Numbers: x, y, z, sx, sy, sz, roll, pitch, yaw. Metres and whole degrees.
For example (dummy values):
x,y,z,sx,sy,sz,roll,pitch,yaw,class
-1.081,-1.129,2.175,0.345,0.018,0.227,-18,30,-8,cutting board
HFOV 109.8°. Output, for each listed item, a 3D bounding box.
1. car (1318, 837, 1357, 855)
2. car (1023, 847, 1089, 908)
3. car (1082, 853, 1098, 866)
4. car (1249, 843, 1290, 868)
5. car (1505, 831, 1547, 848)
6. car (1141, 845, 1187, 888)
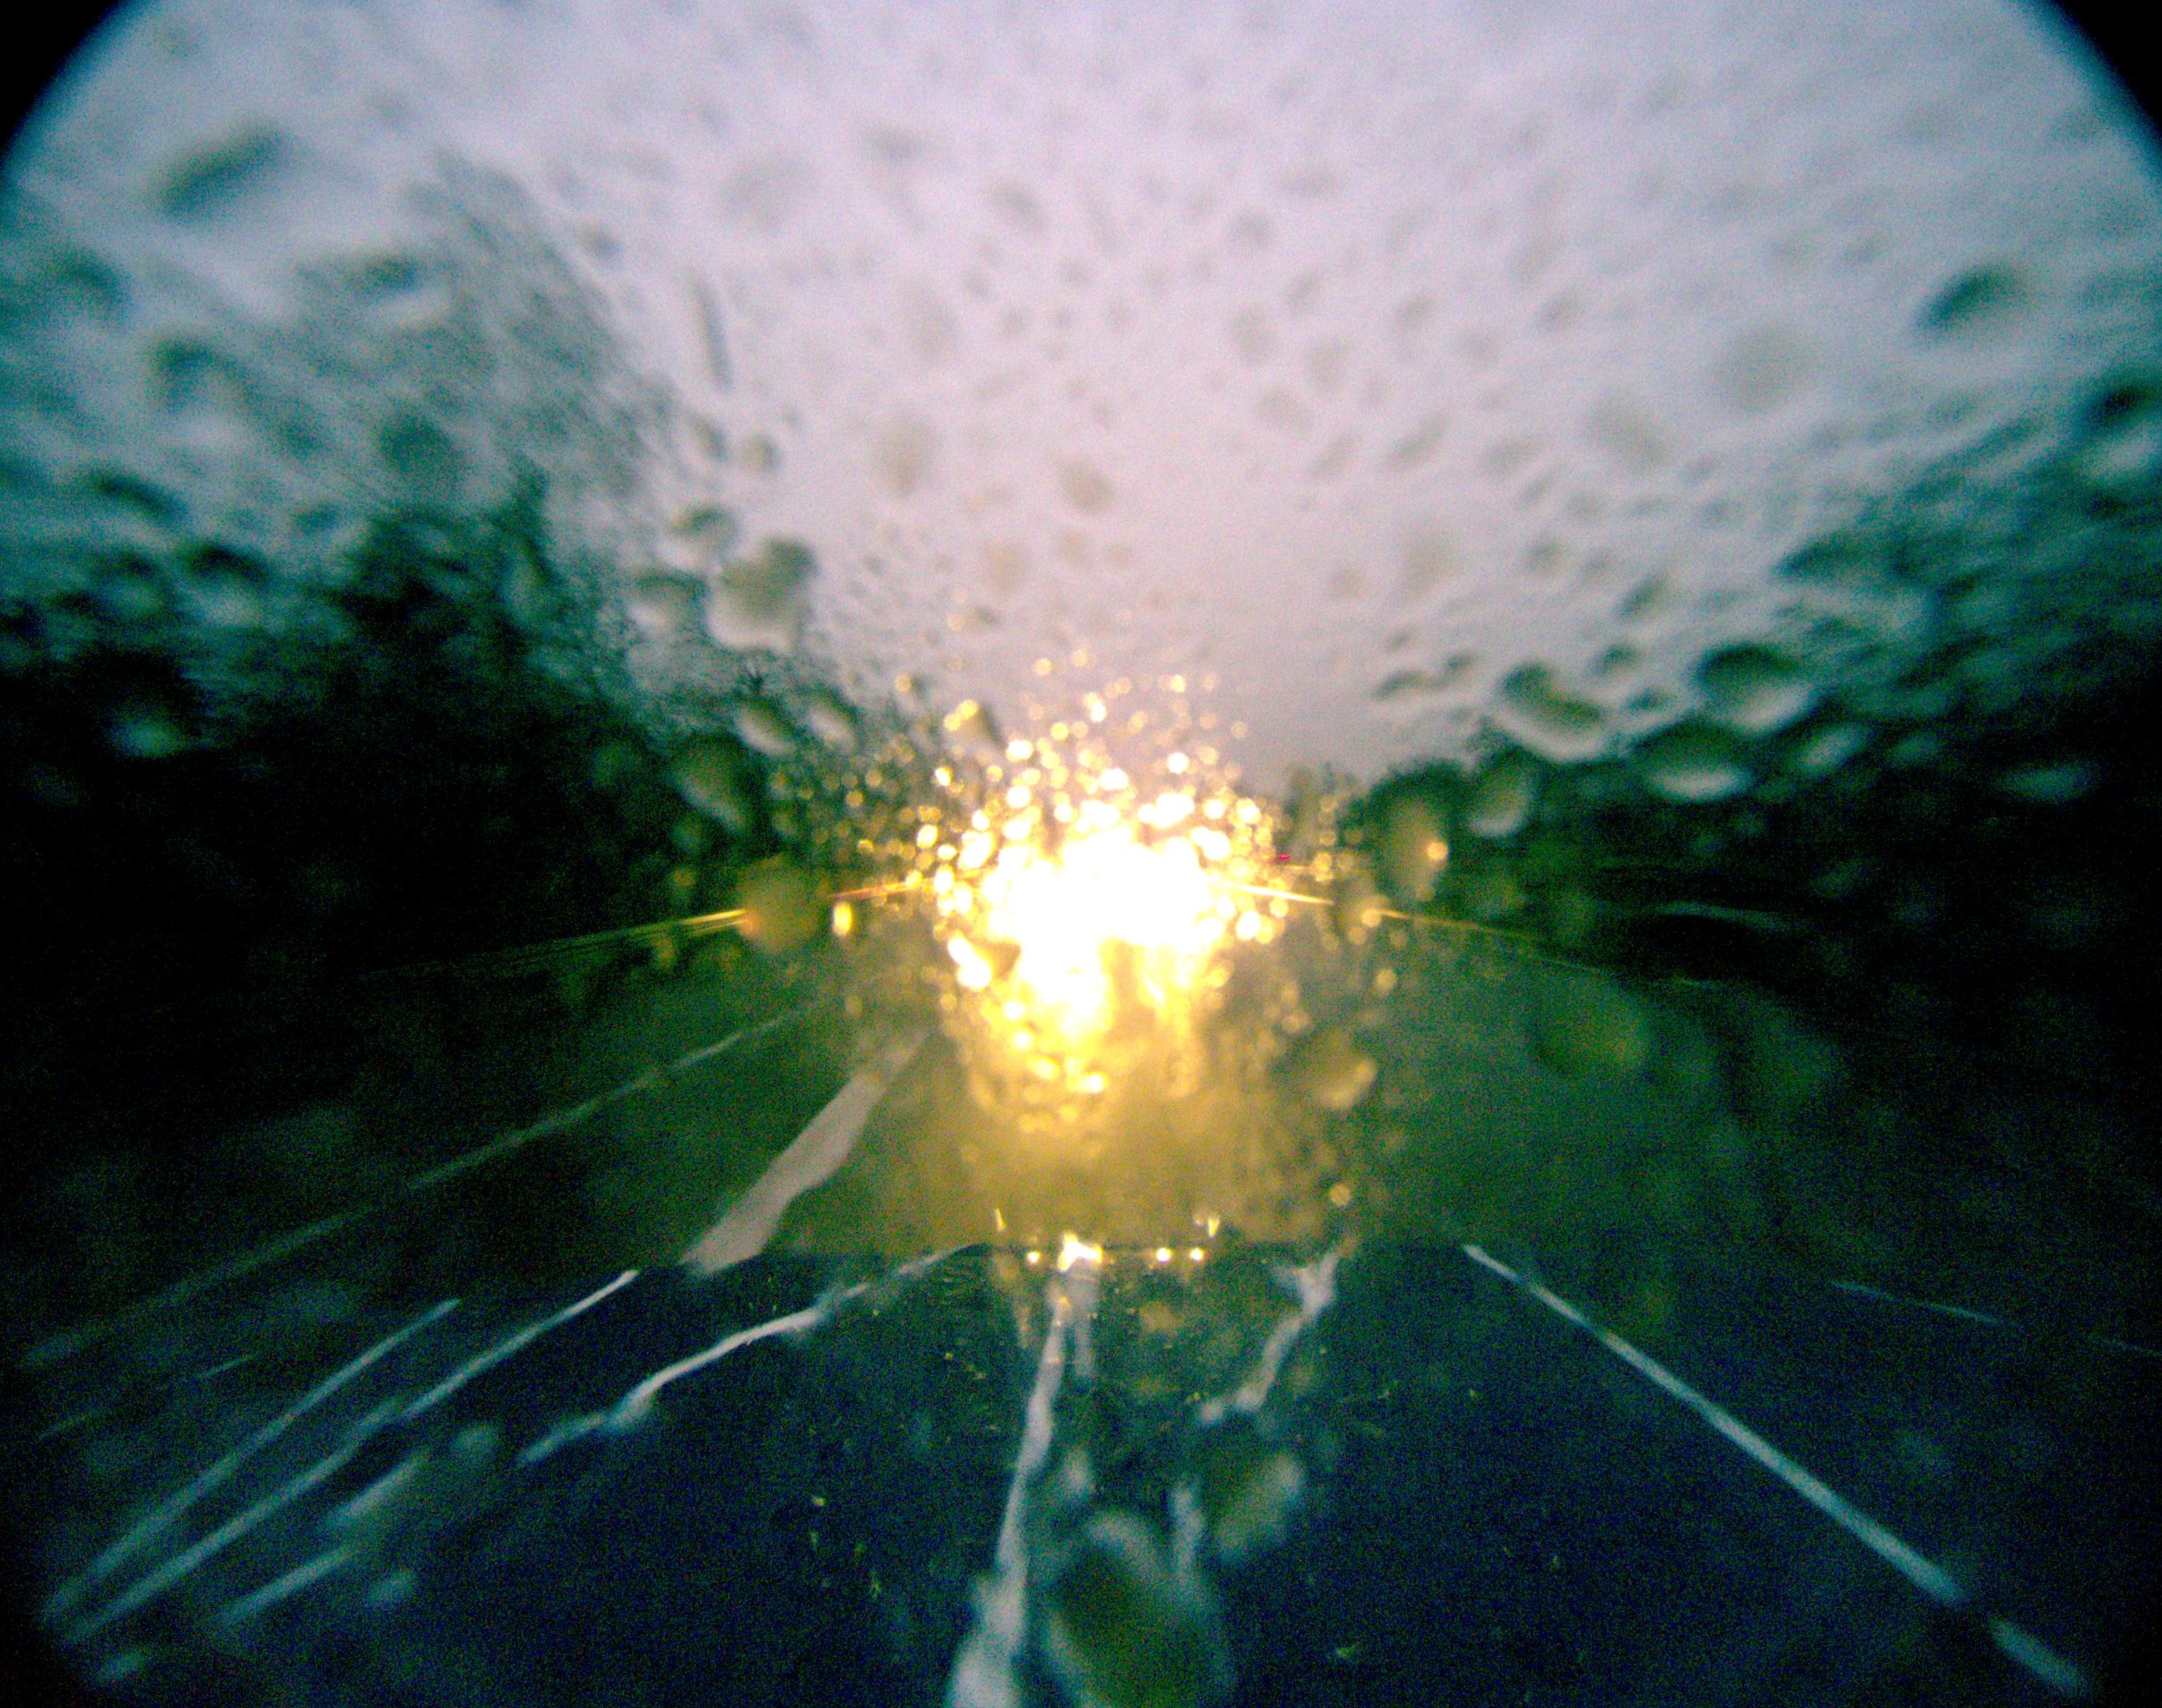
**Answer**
x,y,z,sx,sy,sz,roll,pitch,yaw,class
30.627,-0.927,90.764,1.780,2.002,4.199,-2,1,-31,car
-0.776,0.678,24.925,1.929,1.781,3.940,-2,1,0,car
1.055,0.654,89.119,1.741,1.441,3.999,-2,1,0,car
11.647,0.071,47.100,1.563,1.491,3.430,-2,1,-1,car
41.766,-1.391,71.356,1.574,1.485,3.028,-3,1,-43,car
3.894,0.541,36.266,1.766,1.922,4.000,-2,1,1,car
